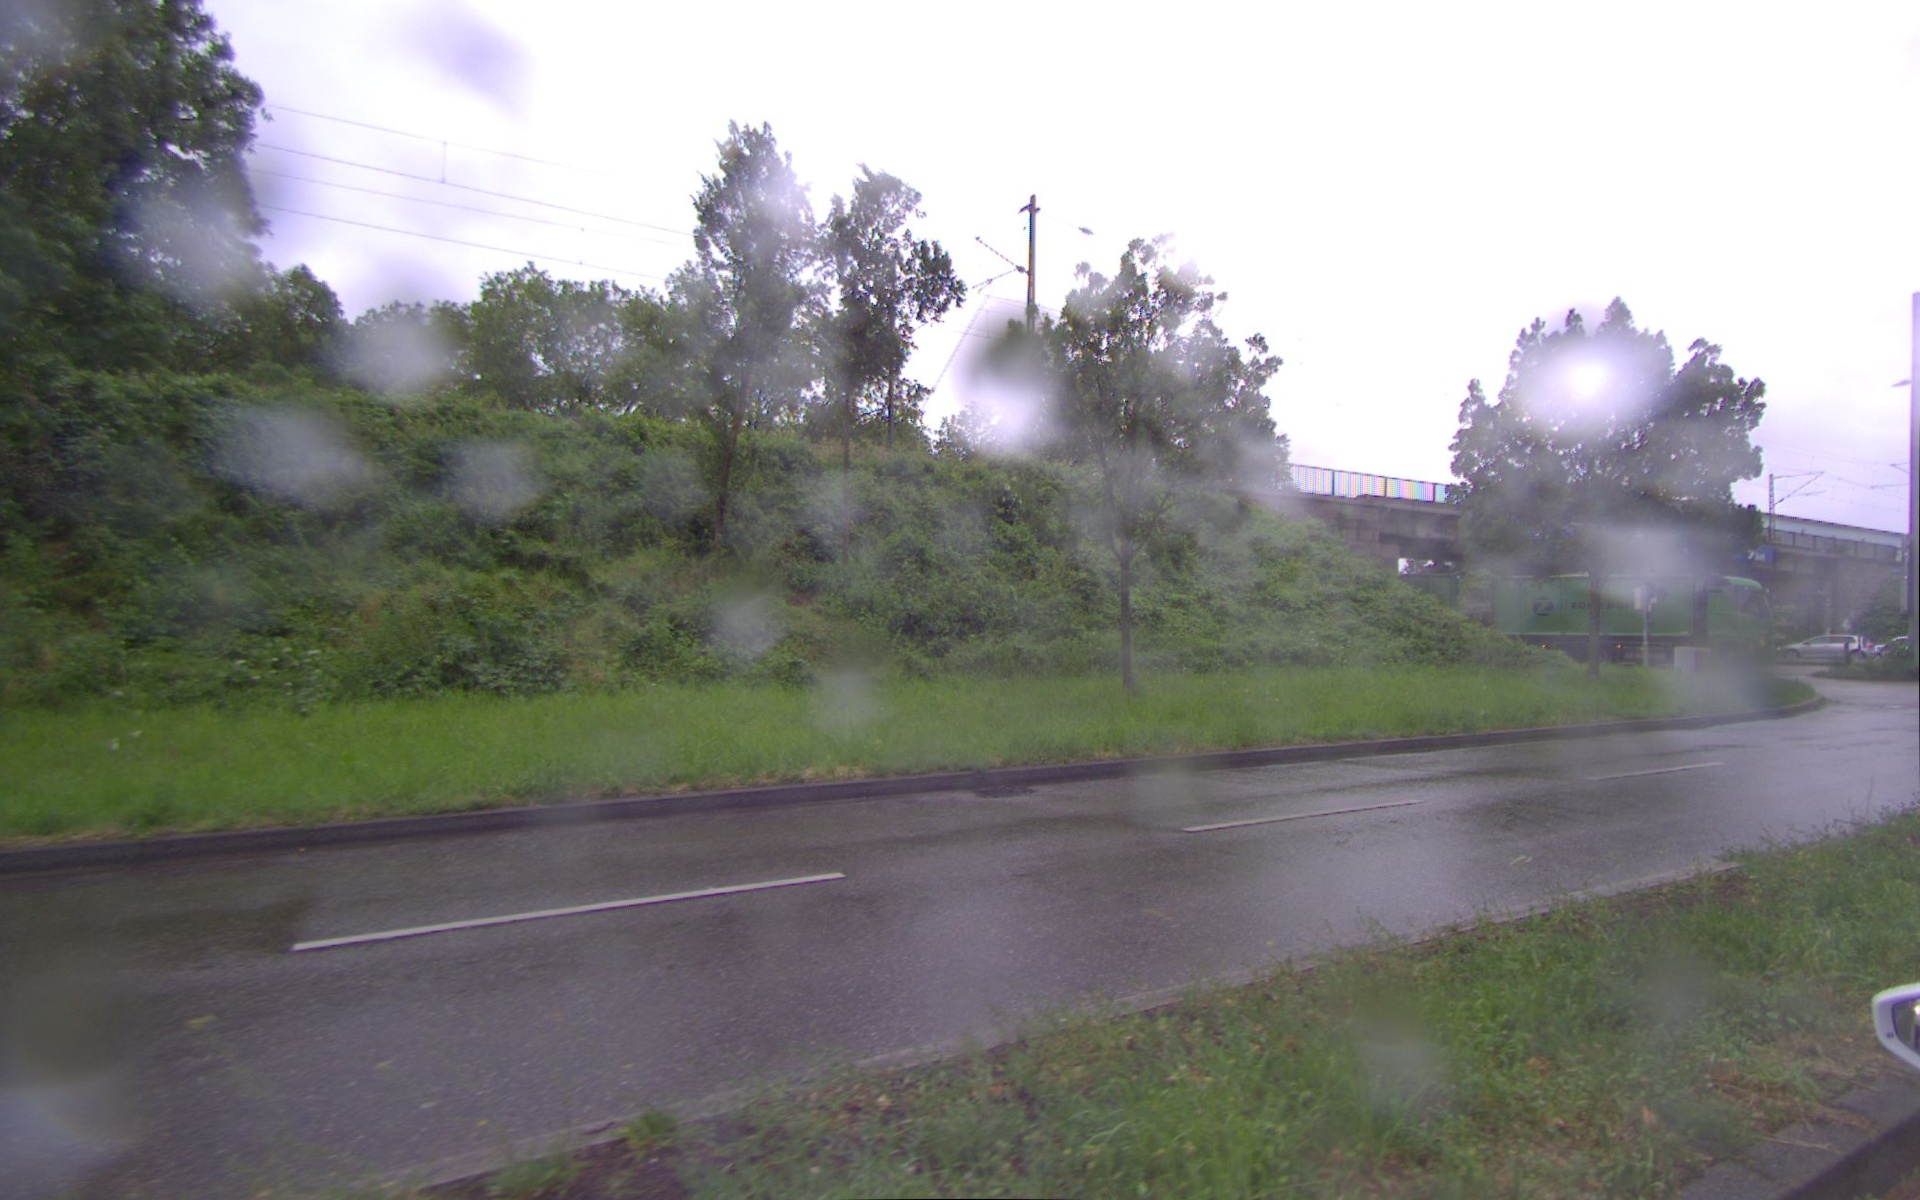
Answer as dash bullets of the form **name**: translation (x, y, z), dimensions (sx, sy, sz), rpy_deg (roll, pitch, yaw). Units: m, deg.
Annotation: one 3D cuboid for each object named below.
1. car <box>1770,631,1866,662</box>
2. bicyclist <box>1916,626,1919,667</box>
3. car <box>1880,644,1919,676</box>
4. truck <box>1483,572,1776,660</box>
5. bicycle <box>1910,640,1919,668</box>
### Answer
- **car**: translation (45.673, 2.466, 53.479), dimensions (3.775, 1.564, 1.988), rpy_deg (-2, -3, 44)
- **bicyclist**: translation (35.157, 1.679, 36.121), dimensions (1.027, 1.469, 0.726), rpy_deg (-1, -1, 36)
- **car**: translation (52.604, 3.265, 54.371), dimensions (3.939, 1.739, 1.992), rpy_deg (-1, -3, 39)
- **truck**: translation (27.506, 0.589, 41.959), dimensions (9.873, 3.416, 2.345), rpy_deg (0, 0, 25)
- **bicycle**: translation (35.117, 1.944, 36.078), dimensions (1.027, 0.964, 2.878), rpy_deg (-1, -1, 36)
